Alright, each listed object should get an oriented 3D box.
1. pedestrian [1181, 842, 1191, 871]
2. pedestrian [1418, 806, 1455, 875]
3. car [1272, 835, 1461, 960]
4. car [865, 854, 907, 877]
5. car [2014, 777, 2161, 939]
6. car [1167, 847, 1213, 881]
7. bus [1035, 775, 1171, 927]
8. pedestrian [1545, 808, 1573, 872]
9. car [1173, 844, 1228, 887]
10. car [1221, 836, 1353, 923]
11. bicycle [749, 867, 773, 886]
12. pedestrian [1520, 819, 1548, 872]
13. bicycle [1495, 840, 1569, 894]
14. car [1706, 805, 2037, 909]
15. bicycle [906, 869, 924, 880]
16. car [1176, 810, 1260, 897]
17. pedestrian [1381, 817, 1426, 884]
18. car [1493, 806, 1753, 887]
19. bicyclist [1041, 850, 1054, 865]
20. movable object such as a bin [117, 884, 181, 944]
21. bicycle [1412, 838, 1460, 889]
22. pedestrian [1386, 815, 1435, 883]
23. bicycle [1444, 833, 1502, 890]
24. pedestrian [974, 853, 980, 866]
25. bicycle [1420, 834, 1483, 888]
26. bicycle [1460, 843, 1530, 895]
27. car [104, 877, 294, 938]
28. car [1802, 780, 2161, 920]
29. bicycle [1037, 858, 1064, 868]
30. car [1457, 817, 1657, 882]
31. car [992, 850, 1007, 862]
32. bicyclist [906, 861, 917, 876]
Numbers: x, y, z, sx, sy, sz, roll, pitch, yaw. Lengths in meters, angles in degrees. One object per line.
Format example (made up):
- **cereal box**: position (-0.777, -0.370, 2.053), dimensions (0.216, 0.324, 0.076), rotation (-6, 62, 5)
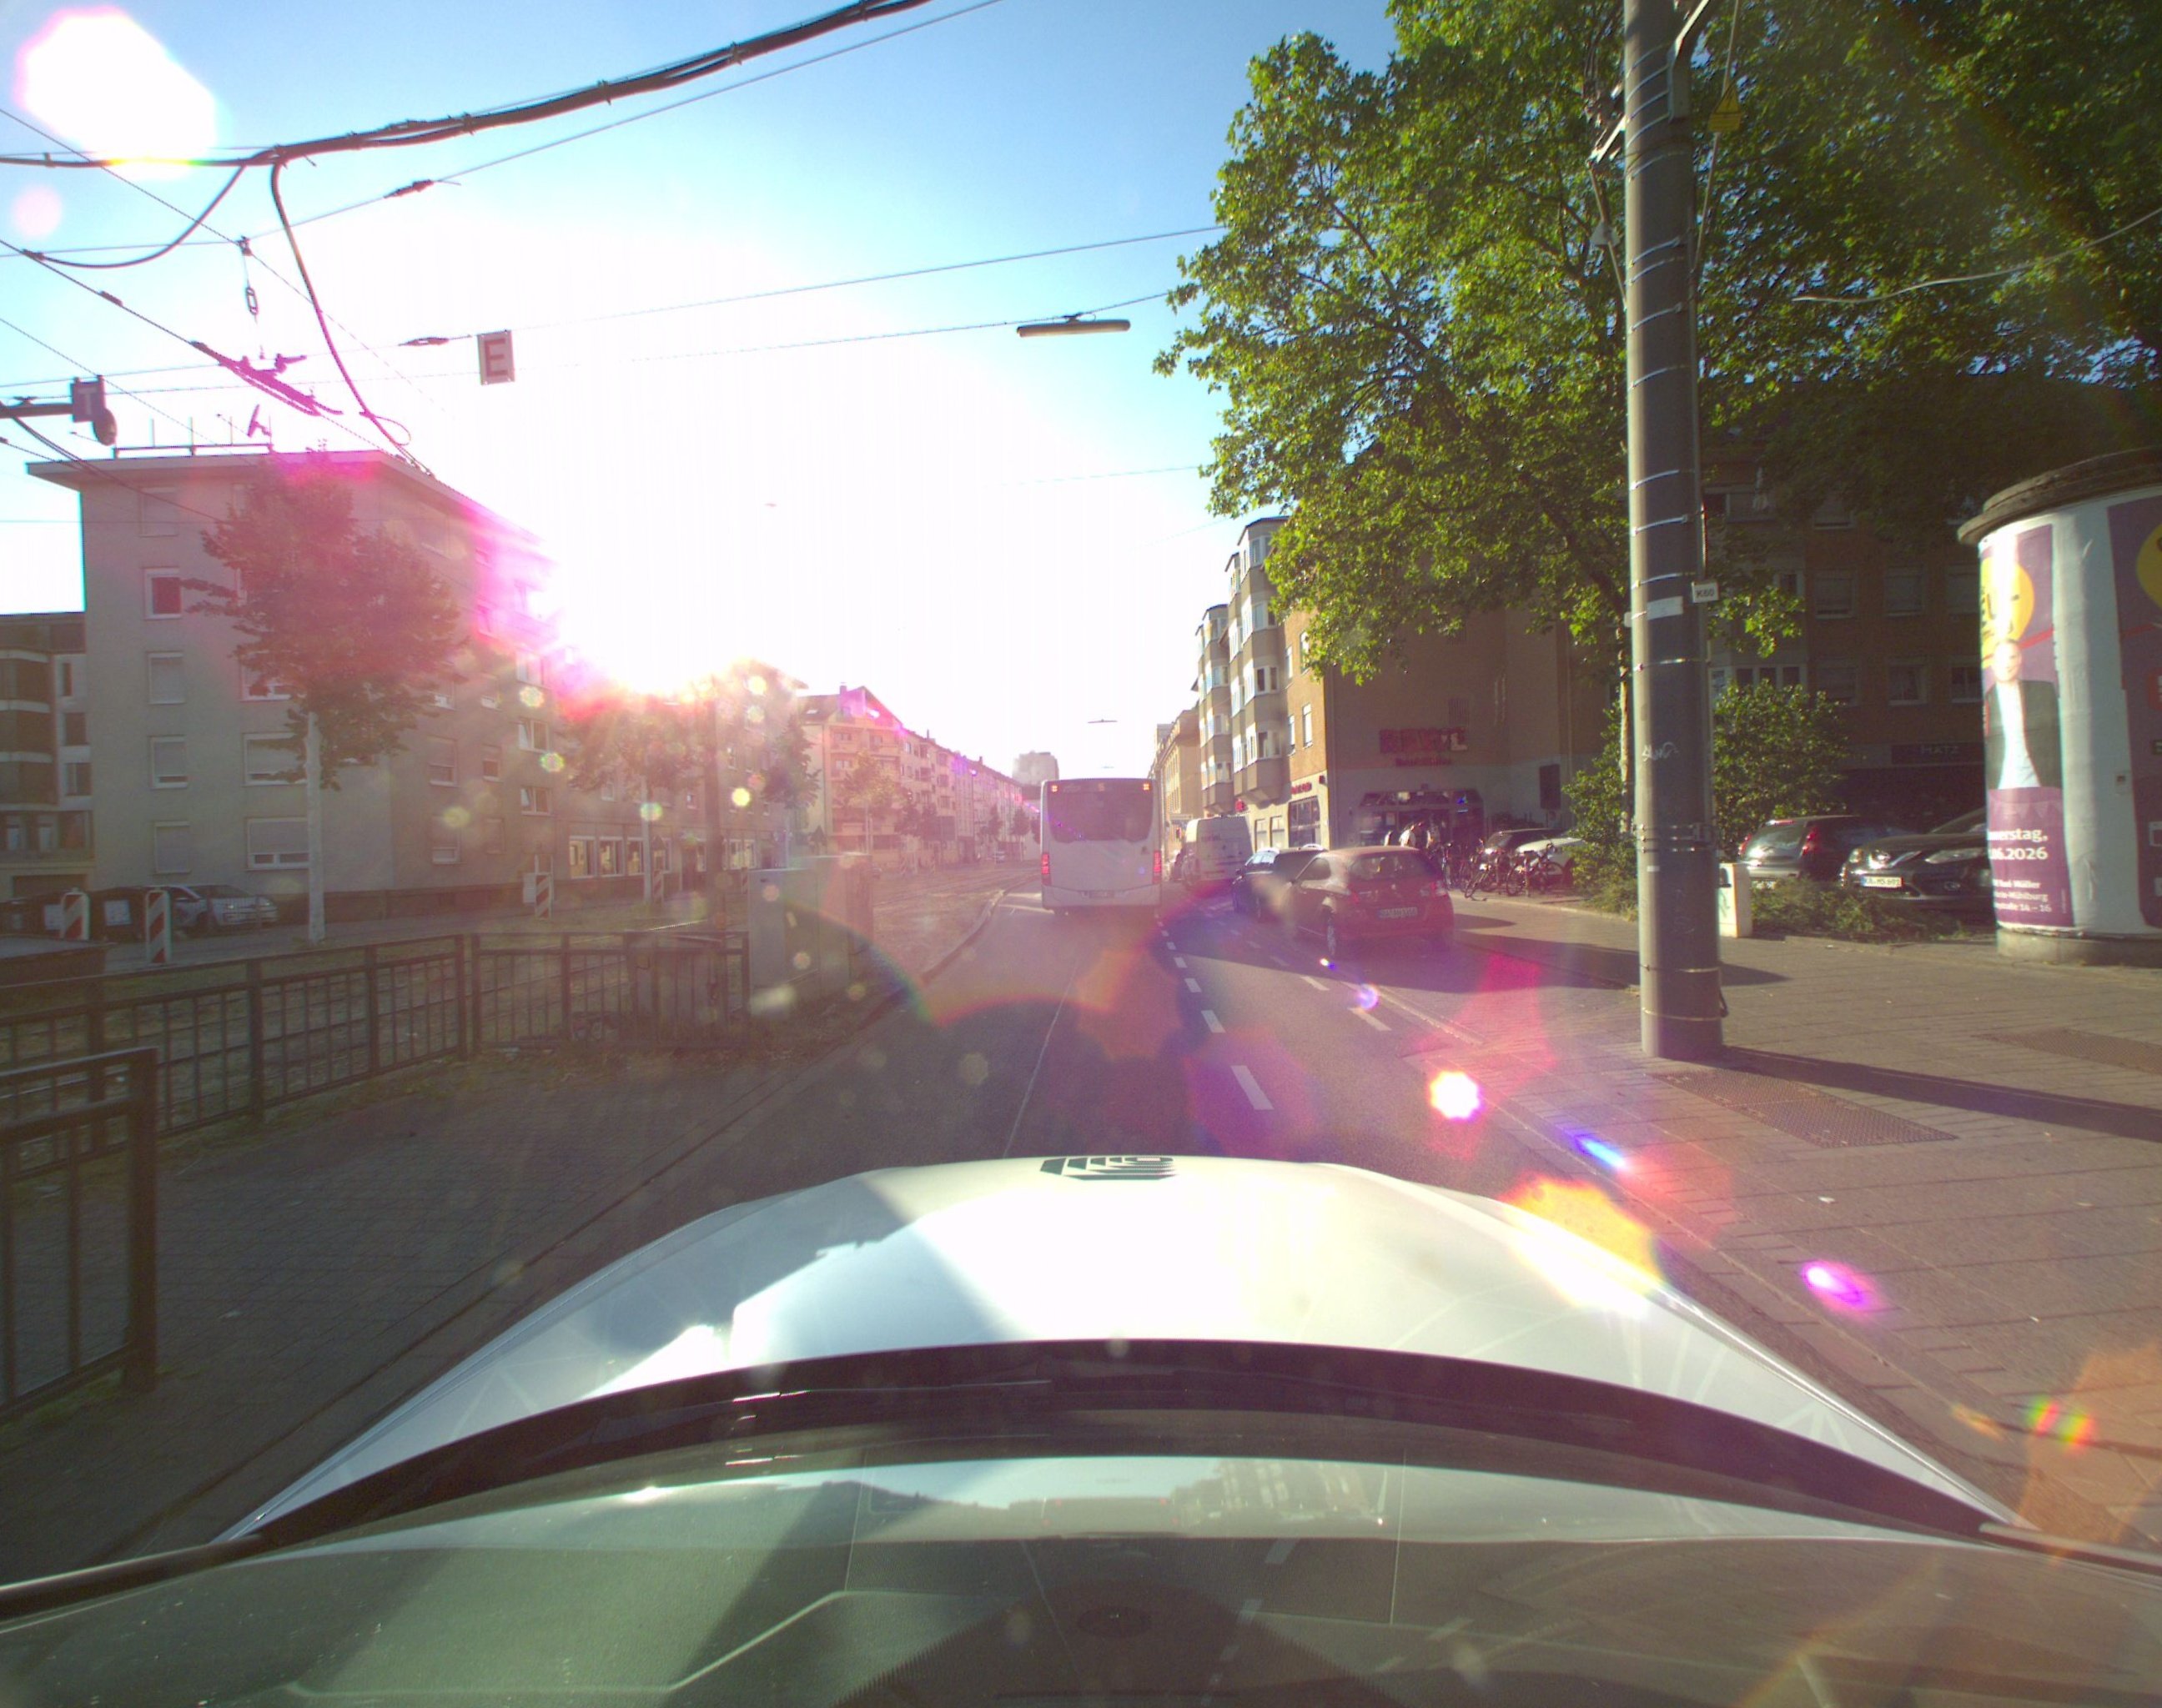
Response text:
- **pedestrian**: position (6.620, 0.163, 51.365), dimensions (0.544, 1.784, 0.450), rotation (-2, 0, 3)
- **pedestrian**: position (9.622, -0.361, 22.050), dimensions (0.527, 1.781, 0.649), rotation (-5, 1, -5)
- **car**: position (4.095, 0.556, 12.289), dimensions (1.564, 1.494, 3.627), rotation (-4, 0, 1)
- **car**: position (-15.398, 0.874, 64.415), dimensions (1.804, 1.560, 4.939), rotation (-3, 0, 3)
- **car**: position (11.902, 0.057, 7.747), dimensions (3.824, 1.495, 1.858), rotation (1, 0, 3)
- **car**: position (5.256, 0.453, 39.791), dimensions (1.831, 1.536, 4.233), rotation (-2, 0, 3)
- **bus**: position (0.644, -0.084, 20.971), dimensions (2.728, 3.056, 8.859), rotation (-1, 0, 3)
- **pedestrian**: position (14.280, -0.420, 24.336), dimensions (0.578, 1.881, 0.468), rotation (-2, 0, -39)
- **car**: position (4.894, 0.444, 33.851), dimensions (1.831, 1.588, 3.788), rotation (-2, 0, 3)
- **car**: position (4.341, 0.485, 17.925), dimensions (1.691, 1.530, 4.653), rotation (-5, 0, 1)
- **bicycle**: position (-20.700, 1.442, 52.730), dimensions (0.743, 1.115, 1.779), rotation (-2, 0, 3)
- **pedestrian**: position (13.757, -0.255, 24.716), dimensions (0.640, 1.568, 0.417), rotation (-2, 0, -28)
- **bicycle**: position (9.232, 0.253, 16.656), dimensions (1.687, 1.014, 0.644), rotation (-3, 0, -36)
- **car**: position (12.231, 0.038, 12.789), dimensions (3.485, 1.482, 1.774), rotation (1, 0, 1)
- **bicycle**: position (-16.462, 2.054, 80.842), dimensions (0.522, 0.984, 1.895), rotation (-3, 0, 33)
- **car**: position (4.656, -0.027, 28.583), dimensions (2.009, 2.551, 5.788), rotation (-5, 0, 2)
- **pedestrian**: position (8.861, -0.101, 22.372), dimensions (0.803, 1.751, 0.769), rotation (-5, 1, 2)
- **car**: position (12.186, -0.168, 18.566), dimensions (4.601, 1.709, 2.001), rotation (1, 0, 1)
- **bicyclist**: position (-2.729, 0.296, 66.266), dimensions (0.932, 1.161, 0.642), rotation (-2, 0, -9)
- **movable object such as a bin**: position (-22.976, 1.472, 20.091), dimensions (0.661, 1.400, 0.749), rotation (-3, 0, 1)
- **bicycle**: position (8.912, 0.225, 20.426), dimensions (1.528, 1.226, 0.399), rotation (-2, 0, -38)
- **pedestrian**: position (8.445, -0.134, 20.892), dimensions (0.658, 1.636, 0.988), rotation (-6, 1, -5)
- **bicycle**: position (8.945, 0.159, 18.567), dimensions (1.592, 1.226, 0.639), rotation (-2, 0, -45)
- **pedestrian**: position (-15.771, 0.812, 123.394), dimensions (0.784, 2.013, 0.890), rotation (-2, 0, -1)
- **bicycle**: position (8.933, 0.166, 19.633), dimensions (1.590, 1.226, 0.644), rotation (-2, 0, -36)
- **bicycle**: position (8.835, 0.314, 17.351), dimensions (1.590, 1.014, 0.644), rotation (-3, 0, -36)
- **car**: position (-26.228, 1.572, 24.293), dimensions (3.798, 1.512, 1.820), rotation (-3, 0, 5)
- **car**: position (12.007, -0.043, 10.368), dimensions (4.007, 1.600, 1.857), rotation (1, 0, 1)
- **bicycle**: position (-2.470, 0.755, 66.310), dimensions (2.062, 0.732, 0.760), rotation (-2, 0, -9)
- **car**: position (12.367, -0.083, 21.376), dimensions (4.000, 1.432, 2.000), rotation (-2, -3, 1)
- **car**: position (-13.448, 0.357, 134.520), dimensions (1.804, 1.797, 4.249), rotation (-2, 0, 3)
- **bicyclist**: position (-16.729, 1.428, 80.449), dimensions (0.522, 1.447, 0.971), rotation (-3, 0, 33)
